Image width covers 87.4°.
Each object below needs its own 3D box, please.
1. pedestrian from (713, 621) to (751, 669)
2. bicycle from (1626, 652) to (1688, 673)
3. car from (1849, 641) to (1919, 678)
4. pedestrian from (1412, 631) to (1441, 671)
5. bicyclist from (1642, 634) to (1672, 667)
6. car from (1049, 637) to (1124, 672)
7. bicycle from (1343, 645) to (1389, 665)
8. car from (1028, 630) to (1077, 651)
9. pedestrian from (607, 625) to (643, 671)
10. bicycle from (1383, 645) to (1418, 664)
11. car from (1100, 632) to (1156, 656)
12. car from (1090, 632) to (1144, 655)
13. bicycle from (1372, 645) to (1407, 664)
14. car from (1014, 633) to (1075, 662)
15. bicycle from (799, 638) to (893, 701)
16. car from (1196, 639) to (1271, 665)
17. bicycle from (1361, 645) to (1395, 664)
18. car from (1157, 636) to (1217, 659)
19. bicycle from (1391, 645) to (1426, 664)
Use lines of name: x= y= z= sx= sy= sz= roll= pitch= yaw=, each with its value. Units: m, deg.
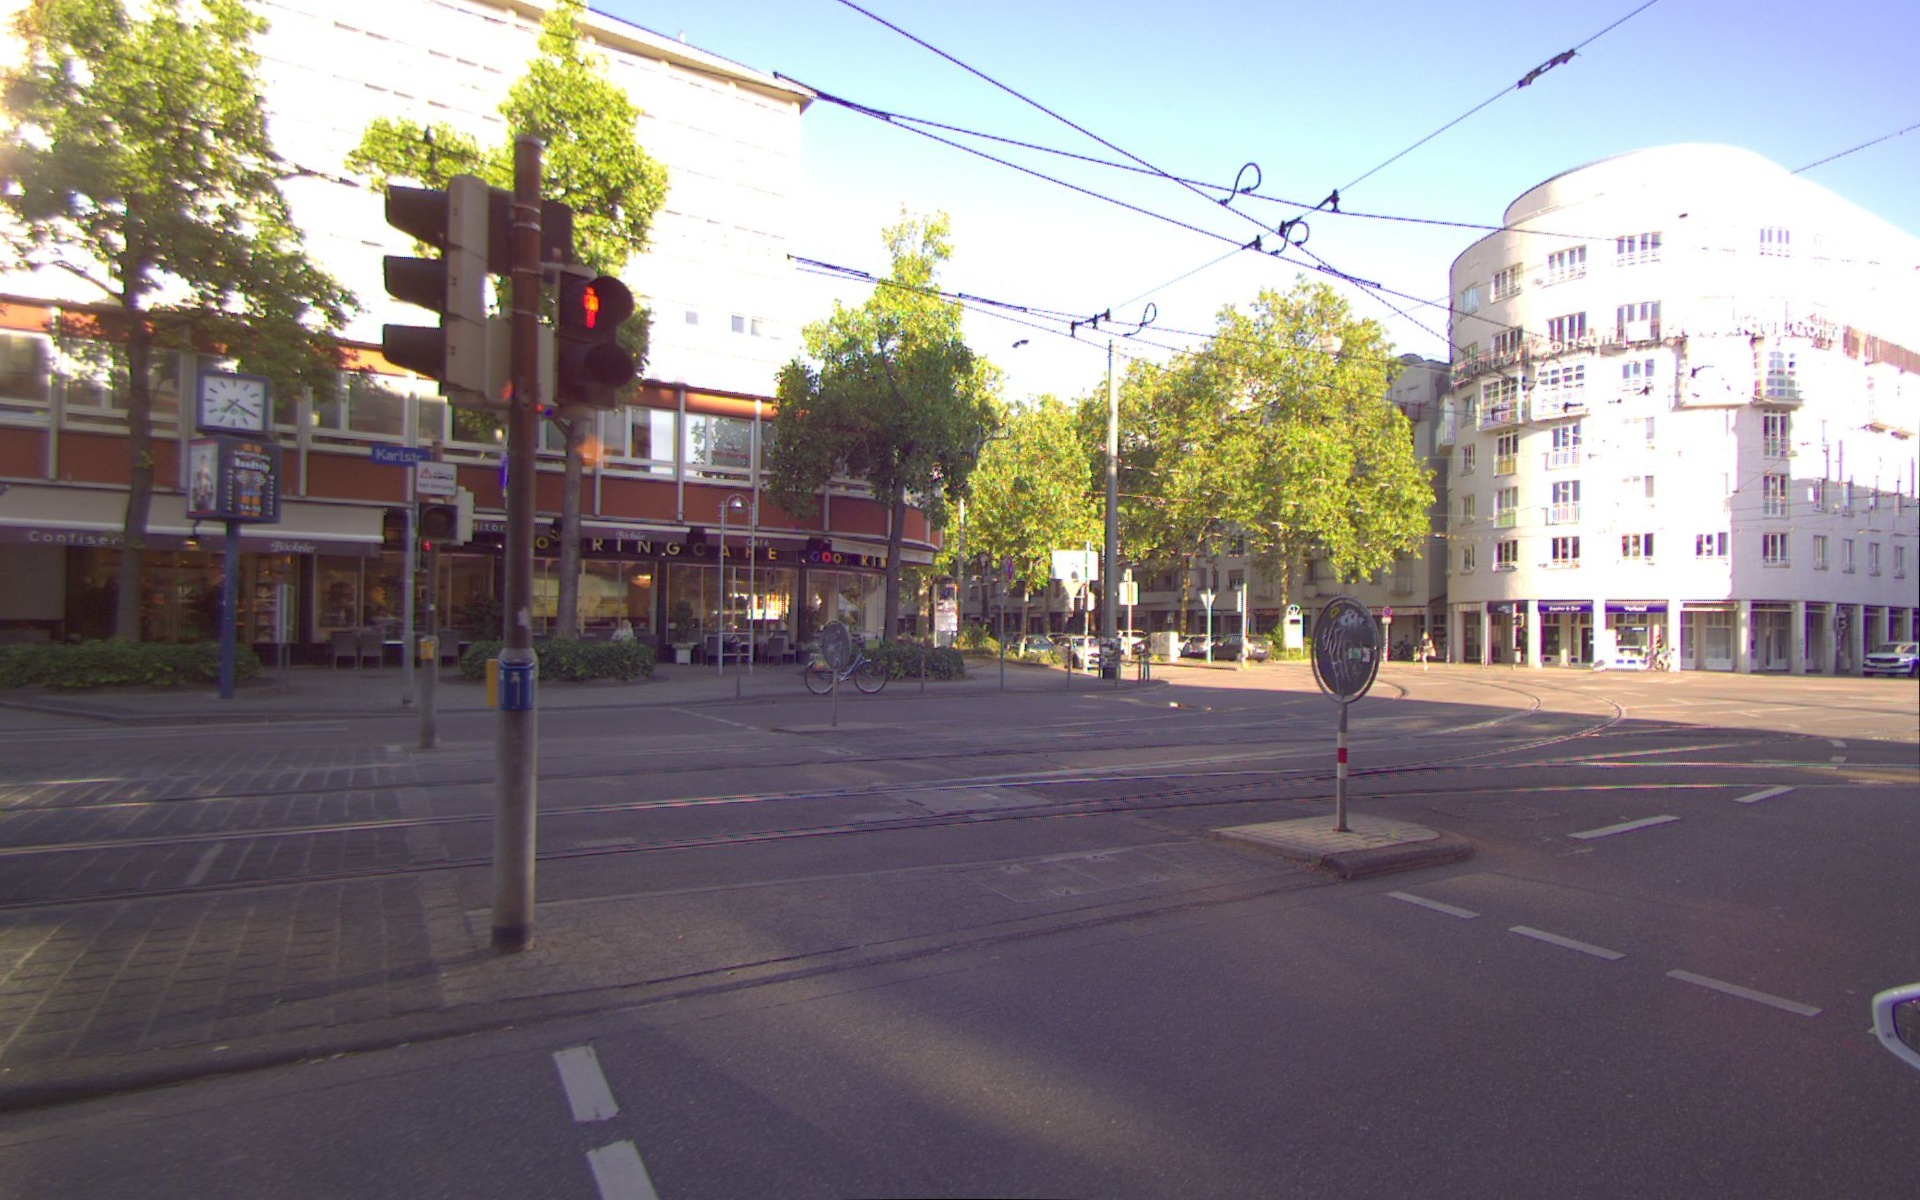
pedestrian: x=-6.846 y=1.337 z=30.189 sx=0.879 sy=1.414 sz=0.930 roll=1 pitch=-2 yaw=-28
bicycle: x=32.743 y=2.936 z=47.232 sx=2.219 sy=0.939 sz=0.844 roll=0 pitch=-1 yaw=13
car: x=43.745 y=2.762 z=46.973 sx=4.458 sy=1.641 sz=1.984 roll=2 pitch=-2 yaw=-31
pedestrian: x=20.372 y=2.214 z=43.852 sx=0.686 sy=1.704 sz=0.867 roll=-1 pitch=-2 yaw=-21
bicyclist: x=32.766 y=2.370 z=47.240 sx=0.878 sy=1.486 sz=0.844 roll=0 pitch=-1 yaw=13
car: x=5.462 y=2.378 z=44.013 sx=1.858 sy=1.439 sz=4.446 roll=1 pitch=-2 yaw=-13
bicycle: x=24.578 y=3.306 z=60.810 sx=0.931 sy=1.122 sz=2.413 roll=2 pitch=-2 yaw=-43
car: x=7.956 y=3.535 z=86.638 sx=3.955 sy=1.738 sz=1.785 roll=2 pitch=-2 yaw=-32
pedestrian: x=-9.529 y=1.360 z=28.597 sx=0.892 sy=1.279 sz=0.838 roll=1 pitch=-2 yaw=-14
bicycle: x=27.677 y=3.407 z=63.100 sx=0.808 sy=1.122 sz=1.935 roll=1 pitch=-2 yaw=-27
car: x=12.728 y=3.340 z=76.032 sx=3.955 sy=1.738 sz=1.785 roll=2 pitch=-2 yaw=-32
car: x=12.262 y=3.370 z=78.268 sx=3.955 sy=1.738 sz=1.785 roll=2 pitch=-2 yaw=-32
bicycle: x=26.678 y=3.380 z=62.395 sx=0.808 sy=1.122 sz=1.937 roll=1 pitch=-2 yaw=-24
car: x=4.326 y=2.439 z=52.112 sx=1.858 sy=1.439 sz=4.446 roll=1 pitch=-2 yaw=-13
bicycle: x=-2.359 y=1.435 z=20.815 sx=1.831 sy=1.251 sz=0.579 roll=2 pitch=0 yaw=-25
car: x=16.166 y=3.054 z=59.554 sx=1.865 sy=1.440 sz=4.428 roll=1 pitch=-2 yaw=-25
bicycle: x=25.796 y=3.359 z=61.975 sx=0.808 sy=1.122 sz=1.937 roll=1 pitch=-2 yaw=-24
car: x=15.712 y=3.278 z=69.437 sx=3.955 sy=1.530 sz=1.785 roll=2 pitch=-2 yaw=-32
bicycle: x=28.384 y=3.426 z=63.594 sx=0.808 sy=1.122 sz=1.935 roll=1 pitch=-2 yaw=-27
